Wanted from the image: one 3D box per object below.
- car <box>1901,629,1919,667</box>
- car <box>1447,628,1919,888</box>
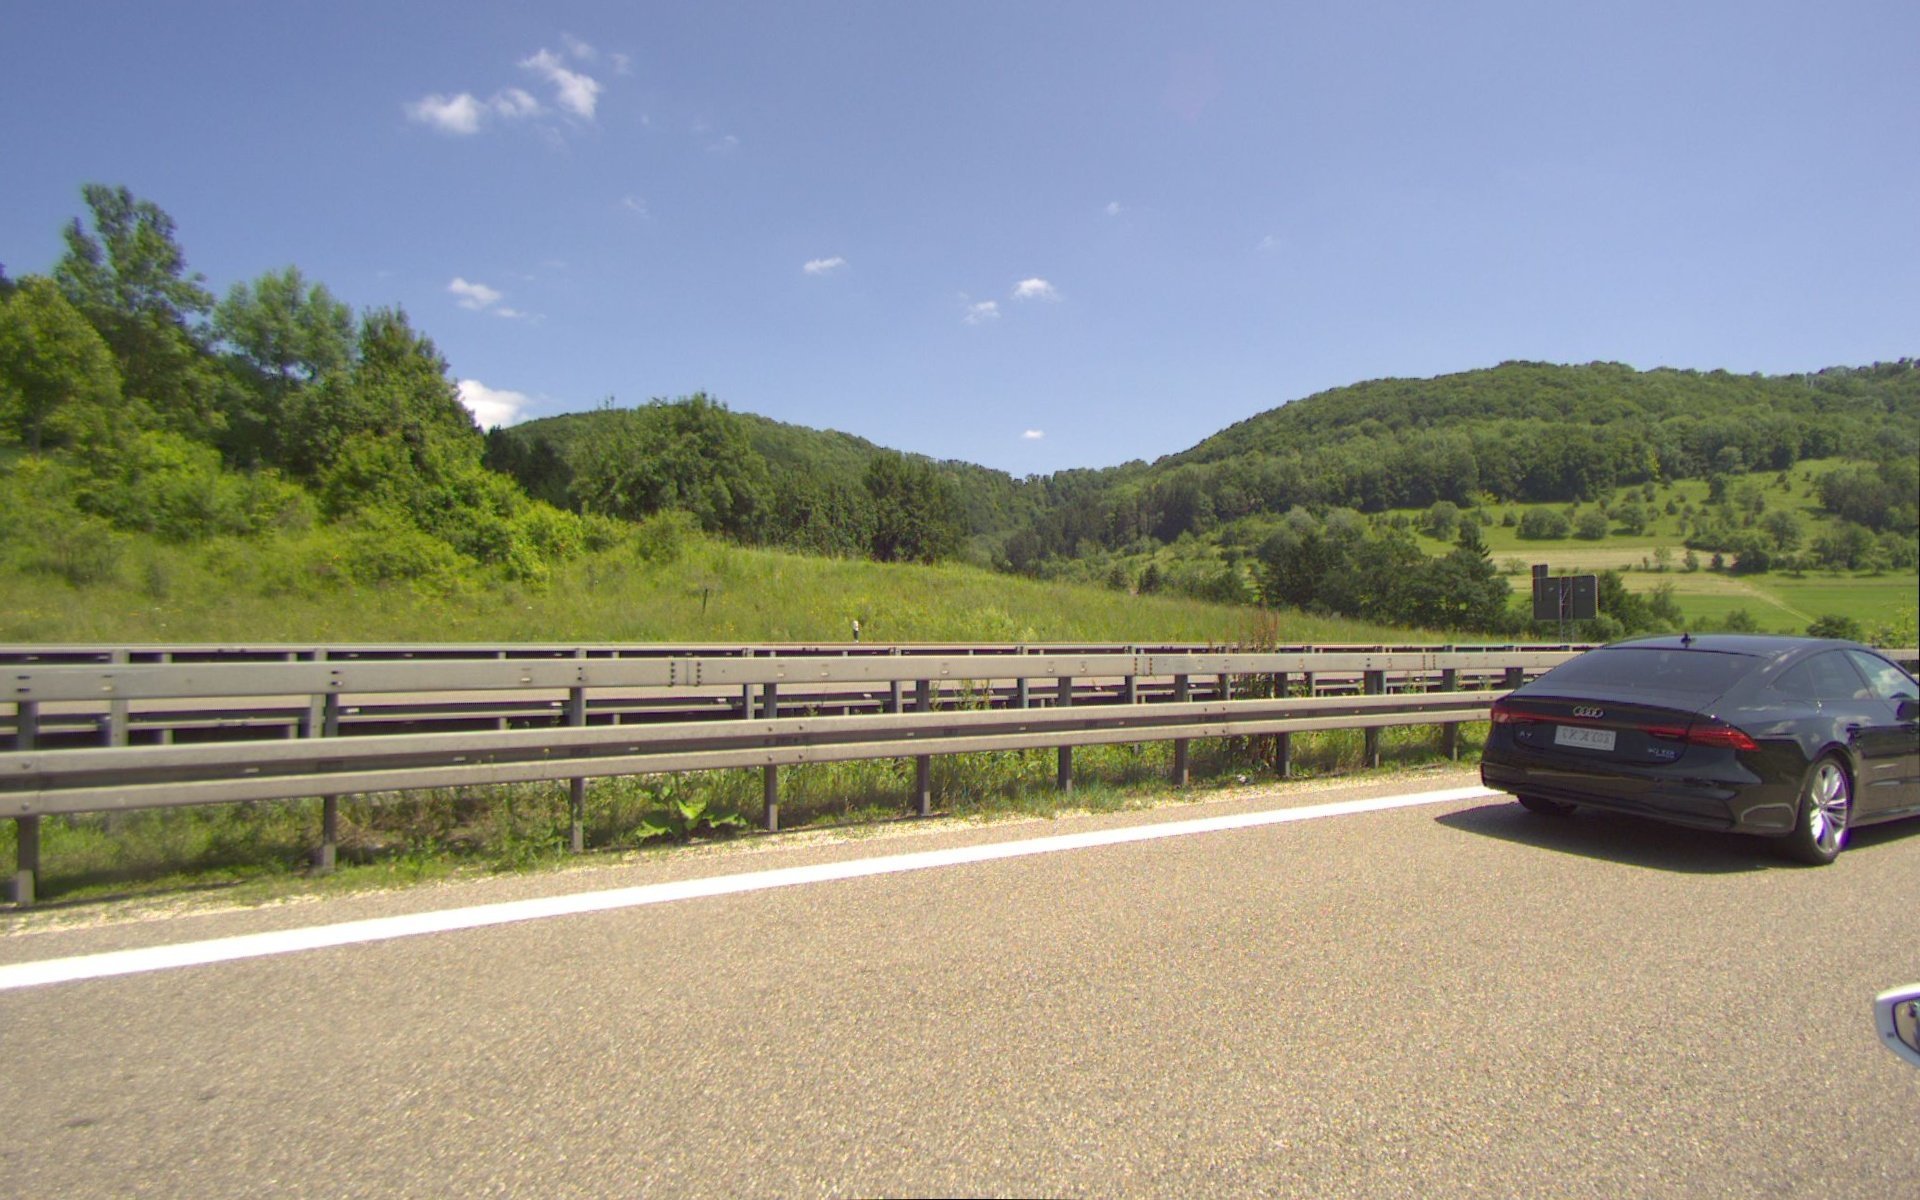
[{"bbox_3d":[39.779,1.924,40.125,4.474,1.474,1.984,1,-1,-30],"label":"car"},{"bbox_3d":[6.010,0.949,7.593,4.911,1.409,1.792,1,-1,-31],"label":"car"}]
